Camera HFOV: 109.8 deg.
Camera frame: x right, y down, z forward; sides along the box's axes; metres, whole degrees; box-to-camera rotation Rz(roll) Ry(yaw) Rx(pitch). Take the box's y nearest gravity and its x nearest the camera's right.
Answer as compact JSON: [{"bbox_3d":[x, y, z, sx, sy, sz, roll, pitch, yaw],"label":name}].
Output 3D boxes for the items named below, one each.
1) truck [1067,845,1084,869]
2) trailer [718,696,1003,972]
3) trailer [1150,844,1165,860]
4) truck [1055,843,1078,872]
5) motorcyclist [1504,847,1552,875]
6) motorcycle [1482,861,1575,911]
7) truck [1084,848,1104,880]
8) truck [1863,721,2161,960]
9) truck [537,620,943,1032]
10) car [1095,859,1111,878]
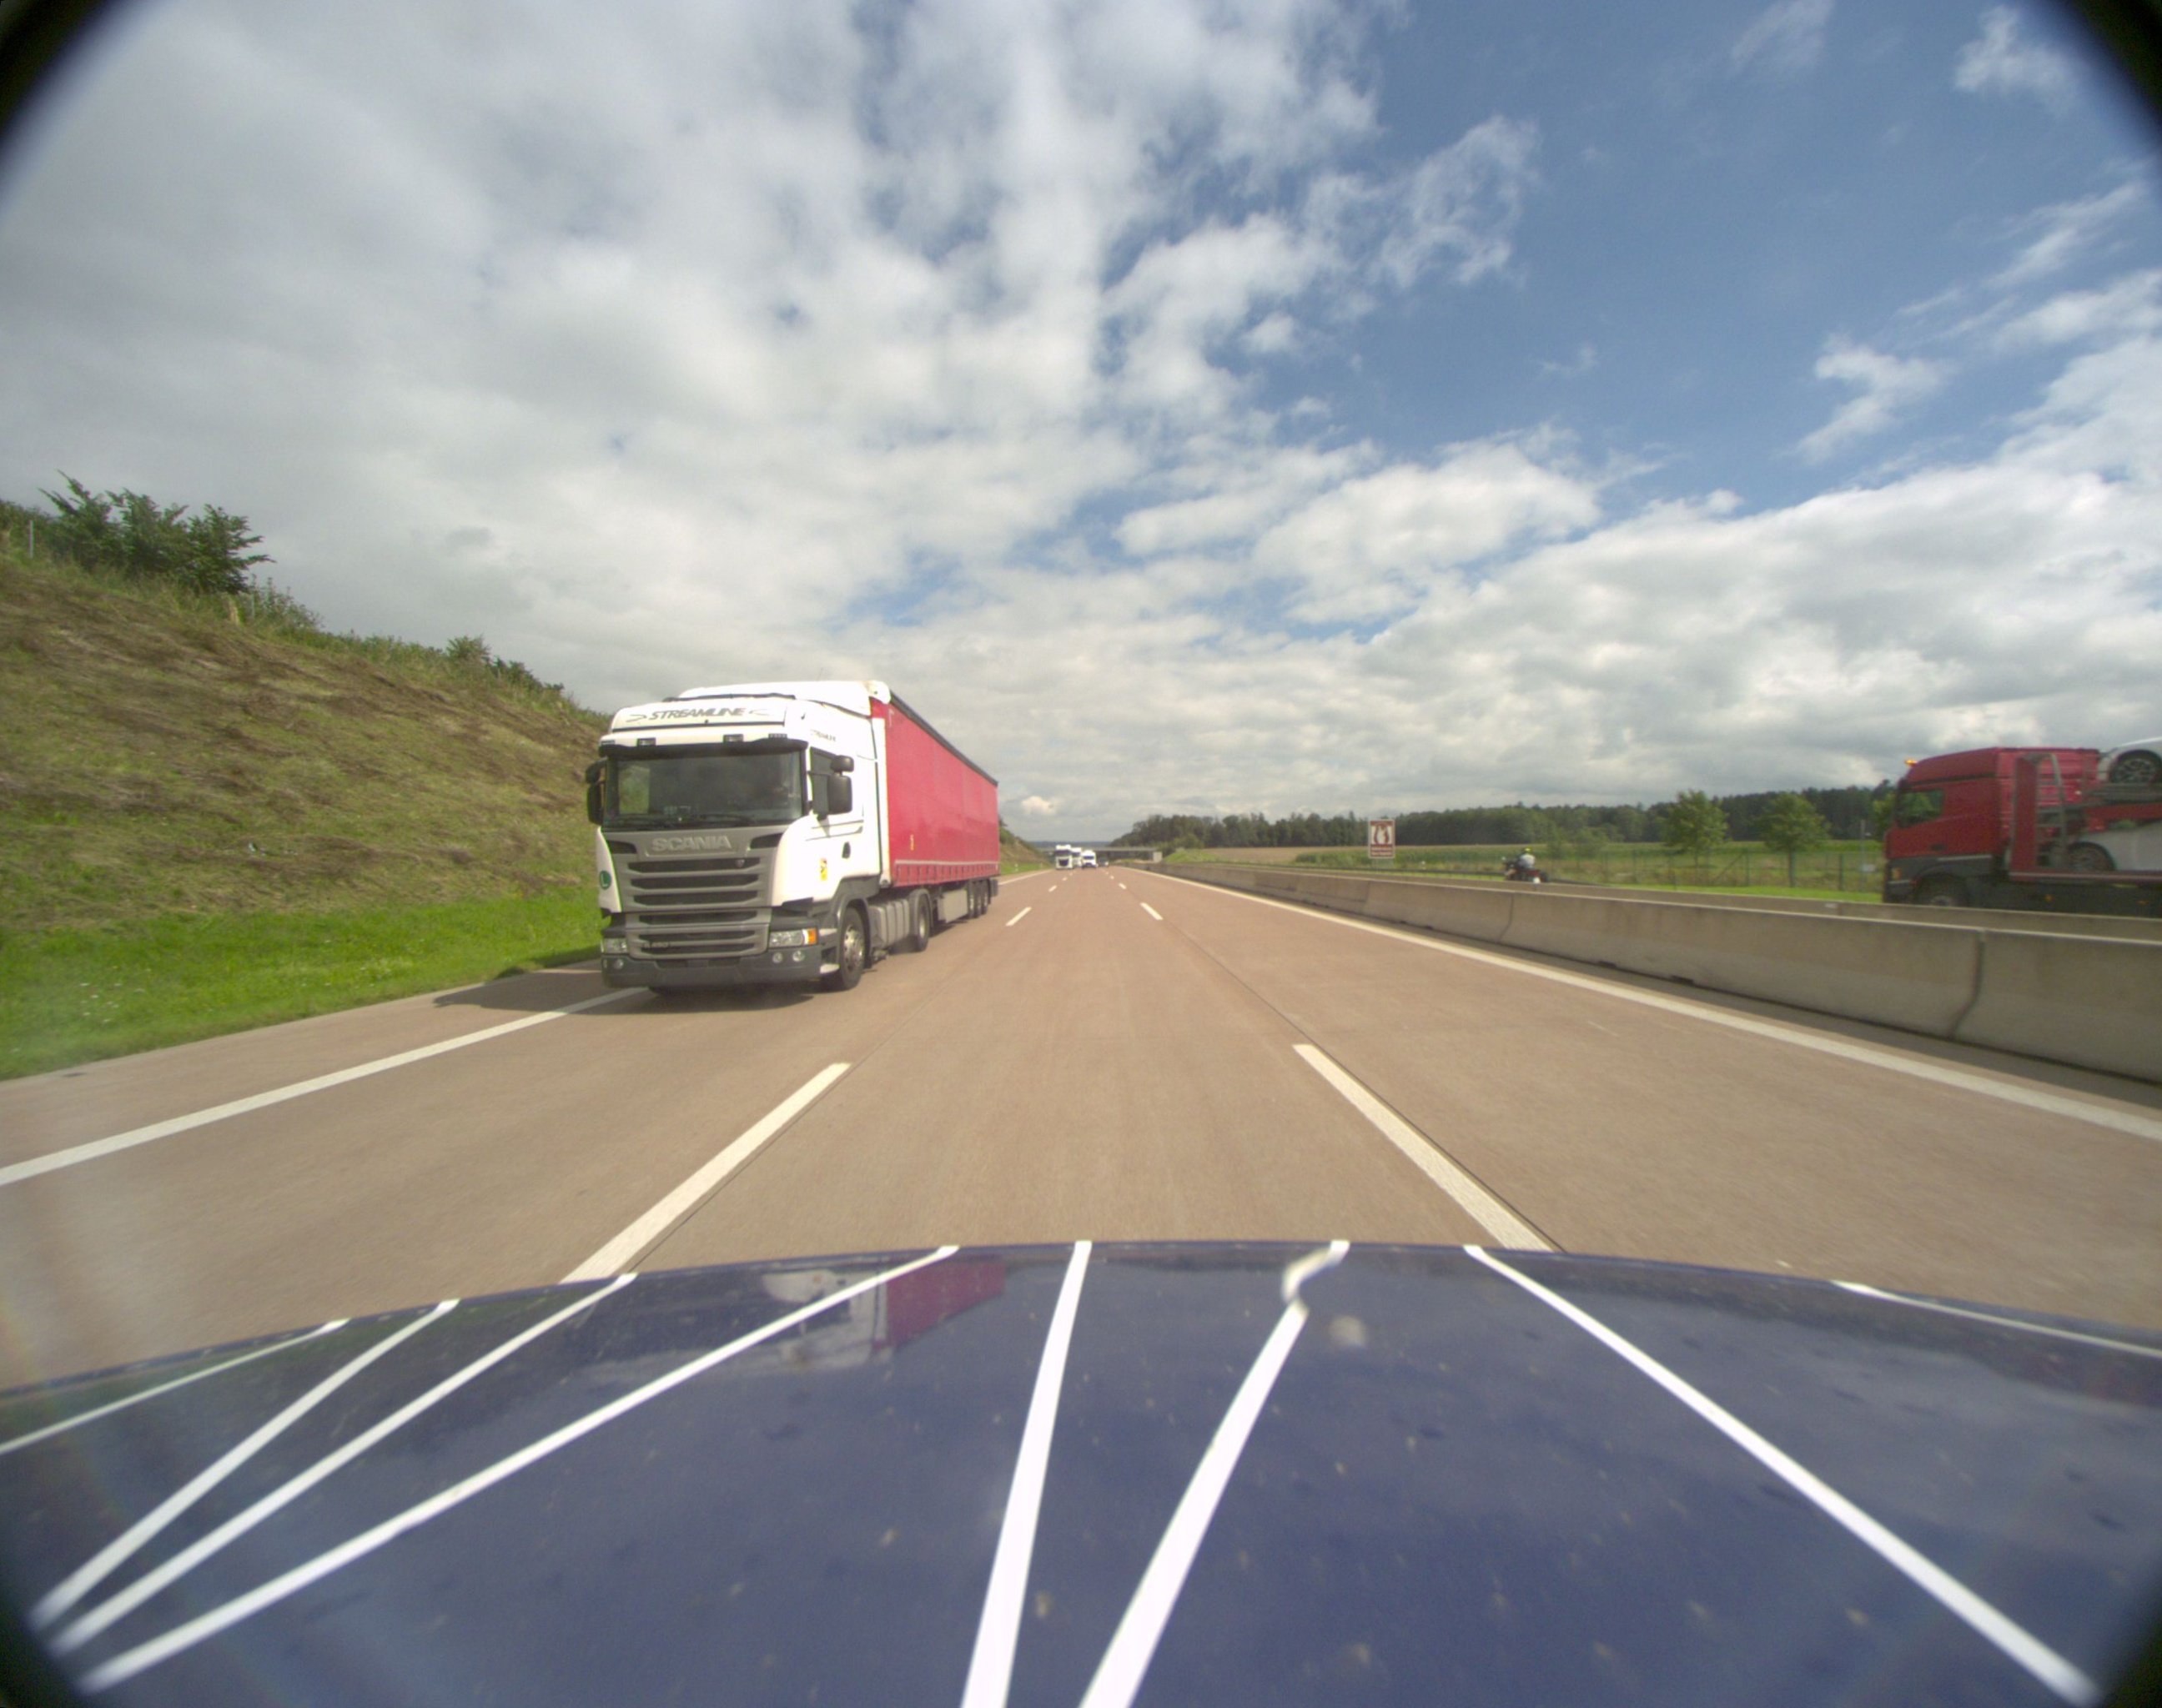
[{"bbox_3d":[-1.071,0.530,157.119,2.927,4.659,11.807,-2,0,1],"label":"truck"},{"bbox_3d":[-3.955,-0.321,17.780,2.679,4.070,12.788,-2,0,1],"label":"trailer"},{"bbox_3d":[23.263,-0.525,230.981,3.413,4.549,13.871,-1,0,1],"label":"trailer"},{"bbox_3d":[-2.169,0.508,120.689,3.107,4.334,11.255,-2,0,1],"label":"truck"},{"bbox_3d":[15.585,0.240,26.516,1.188,0.943,0.839,-2,1,1],"label":"motorcyclist"},{"bbox_3d":[15.516,1.080,26.499,1.558,1.534,2.841,-2,0,1],"label":"motorcycle"},{"bbox_3d":[1.896,1.338,111.360,2.681,4.334,11.807,-2,0,1],"label":"truck"},{"bbox_3d":[19.474,-0.287,13.517,3.202,3.955,7.730,-2,0,2],"label":"truck"},{"bbox_3d":[-4.034,-0.286,10.970,2.681,4.082,6.615,-2,0,1],"label":"truck"},{"bbox_3d":[4.065,2.635,142.093,2.773,3.260,6.392,-2,0,1],"label":"car"}]
